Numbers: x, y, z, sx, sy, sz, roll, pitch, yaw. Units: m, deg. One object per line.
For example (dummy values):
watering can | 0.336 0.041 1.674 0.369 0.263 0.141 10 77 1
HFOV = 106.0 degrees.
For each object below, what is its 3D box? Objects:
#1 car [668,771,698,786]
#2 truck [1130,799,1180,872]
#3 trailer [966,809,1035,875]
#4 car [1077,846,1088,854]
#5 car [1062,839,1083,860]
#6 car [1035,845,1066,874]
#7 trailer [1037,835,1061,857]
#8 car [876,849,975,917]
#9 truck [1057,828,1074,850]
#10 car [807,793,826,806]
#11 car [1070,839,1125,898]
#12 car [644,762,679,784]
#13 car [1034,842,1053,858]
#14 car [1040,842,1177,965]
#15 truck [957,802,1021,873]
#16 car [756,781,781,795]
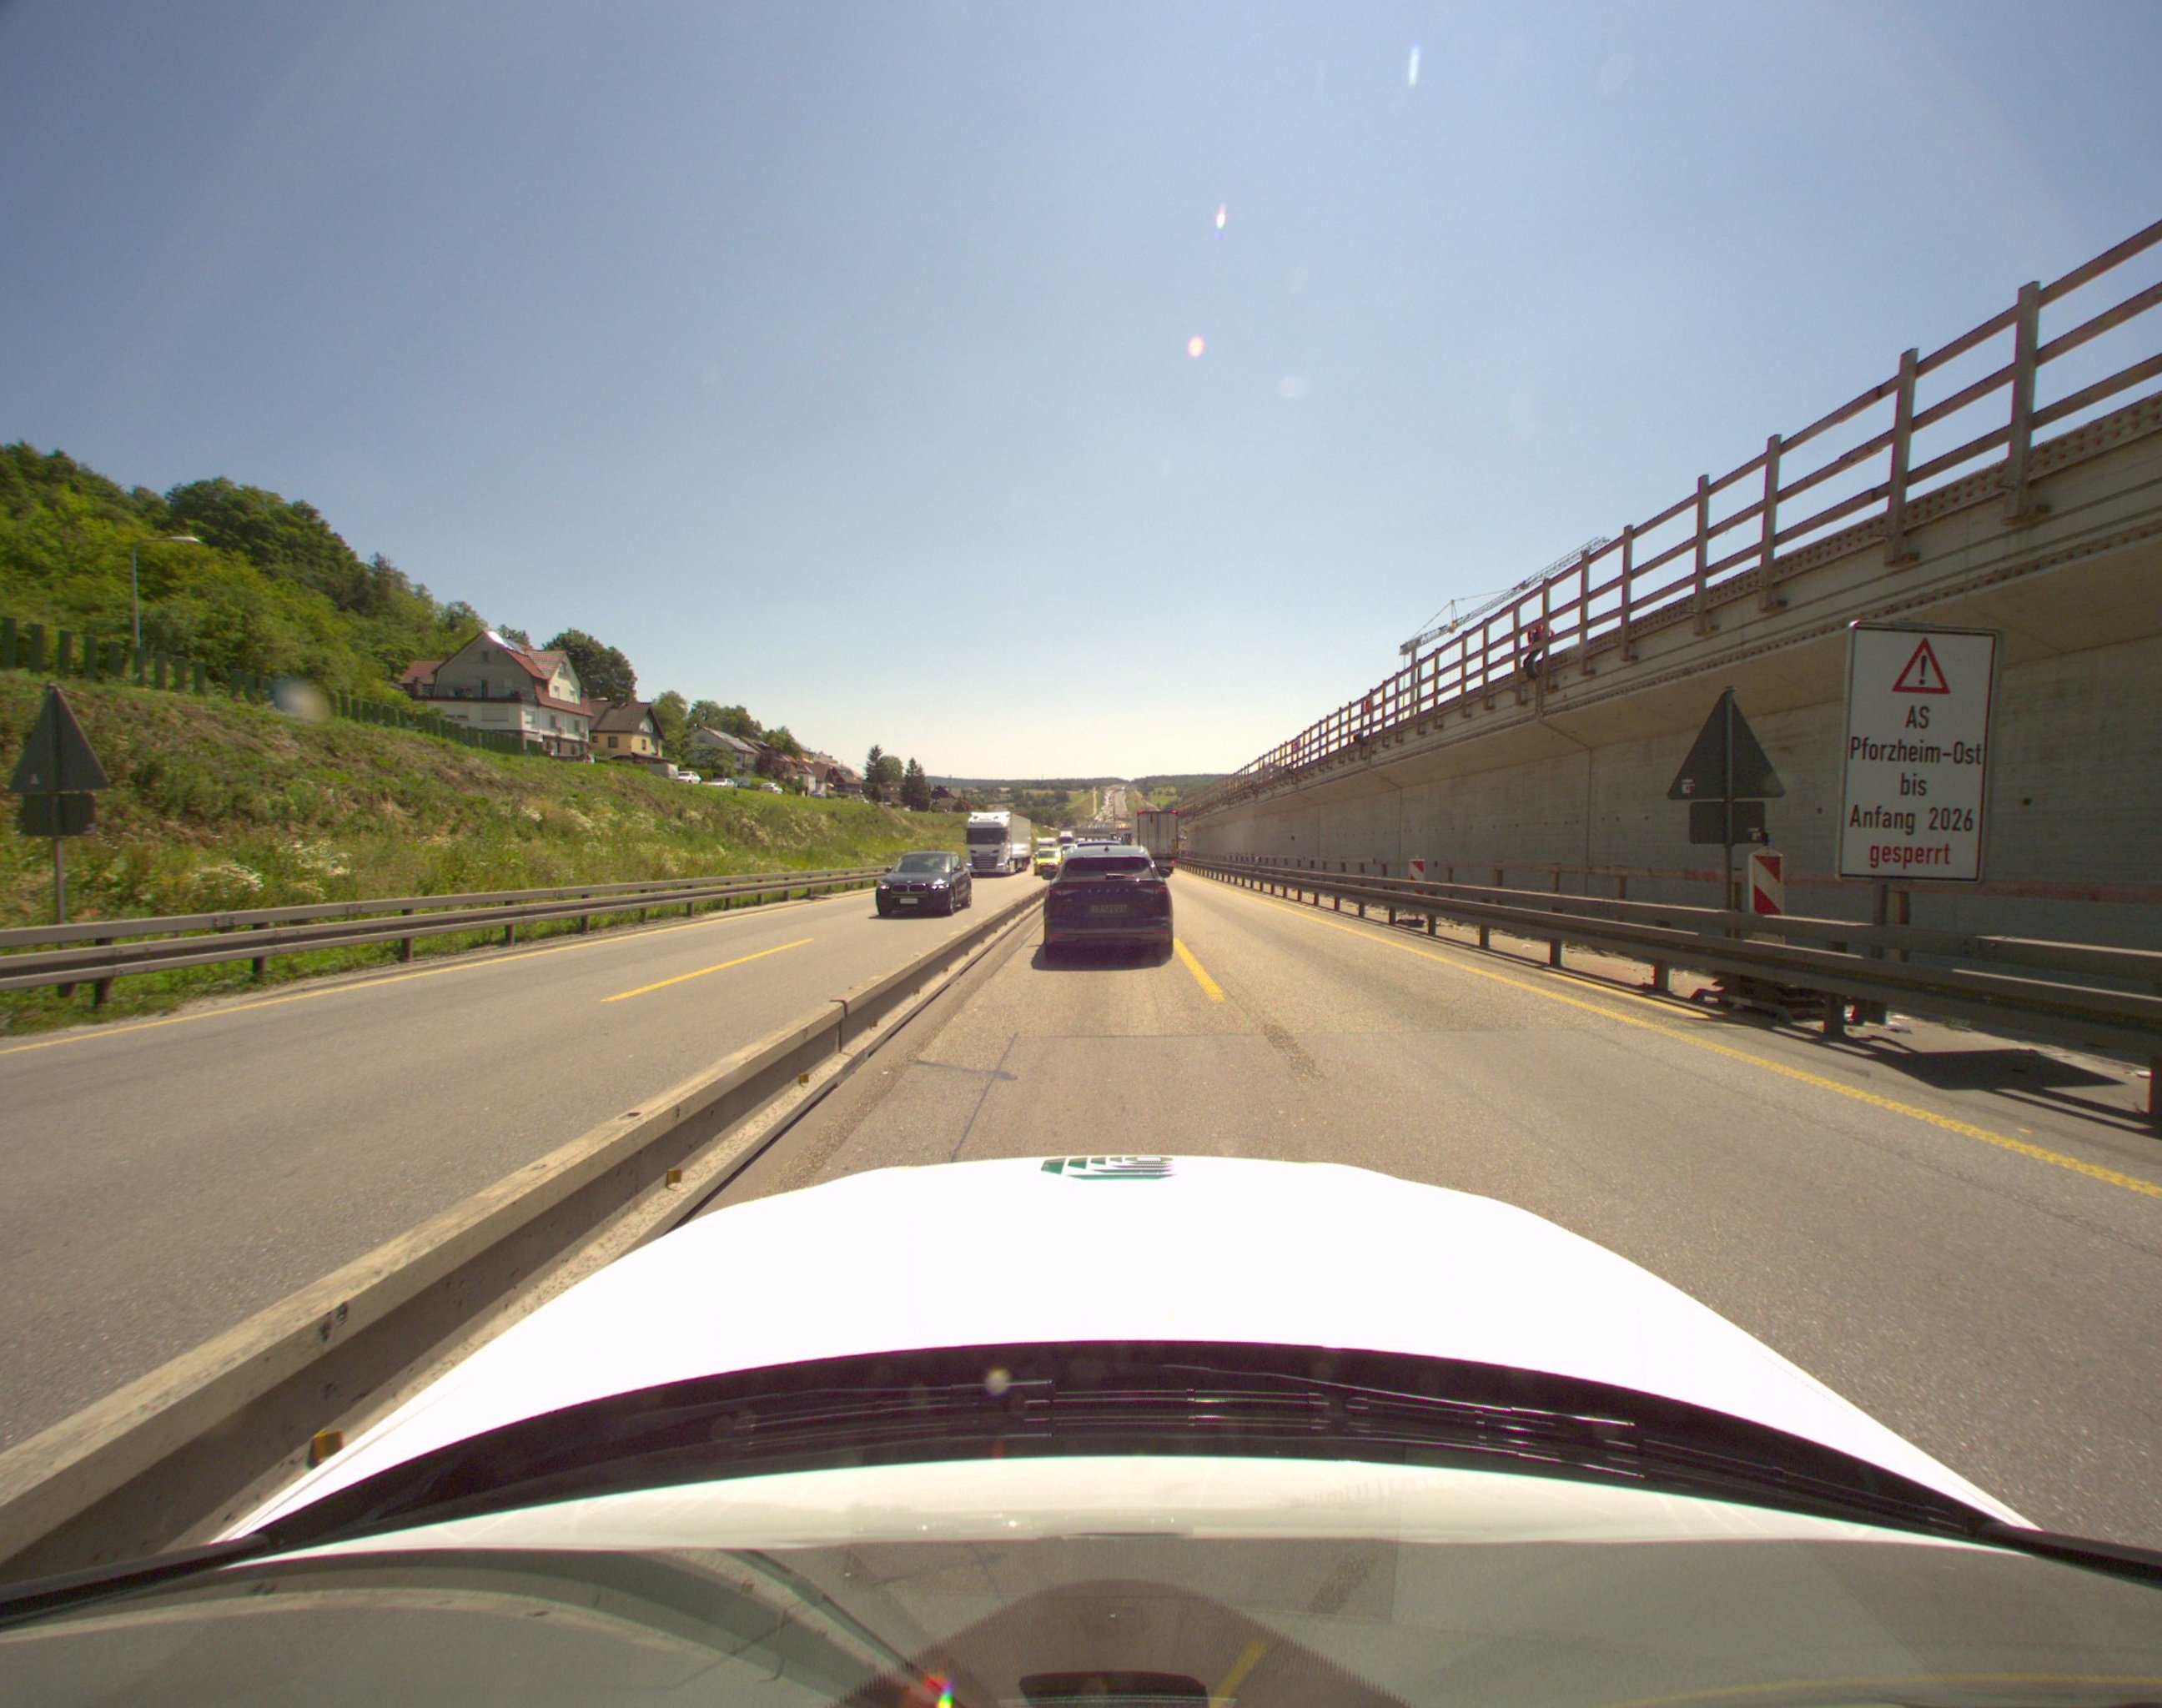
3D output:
car | -35.312 -6.699 72.338 1.278 1.039 3.270 0 0 -4
truck | 5.027 -1.082 57.359 2.835 4.615 11.815 0 -1 2
trailer | -5.508 -0.759 58.503 3.208 4.158 13.412 -1 0 2
car | 0.280 -0.689 136.855 1.764 1.288 4.002 0 -1 2
car | -0.820 -0.415 80.608 1.856 2.014 4.806 0 -1 1
car | -1.968 0.313 53.538 1.769 1.820 4.435 0 0 1
trailer | -3.942 -0.954 101.387 2.475 2.613 5.870 -1 -1 2
car | -3.911 0.670 21.099 1.694 1.561 4.104 0 0 1
truck | -2.858 -2.826 156.837 2.742 4.227 8.104 0 0 2
car | -38.724 -7.944 119.346 1.924 1.728 3.988 0 0 -9
car | 0.522 0.475 28.653 1.744 1.895 3.753 2 0 -1
car | -34.961 -6.744 67.974 1.730 1.398 3.782 2 0 -15
car | -4.271 -0.442 92.944 1.741 1.585 4.001 3 -1 1
car | 0.372 0.647 12.503 1.777 1.597 3.755 0 0 0
truck | -5.713 -0.932 51.834 3.169 4.238 6.486 0 -1 1
car | -38.088 -8.032 99.454 1.993 1.319 3.987 3 -1 -9
